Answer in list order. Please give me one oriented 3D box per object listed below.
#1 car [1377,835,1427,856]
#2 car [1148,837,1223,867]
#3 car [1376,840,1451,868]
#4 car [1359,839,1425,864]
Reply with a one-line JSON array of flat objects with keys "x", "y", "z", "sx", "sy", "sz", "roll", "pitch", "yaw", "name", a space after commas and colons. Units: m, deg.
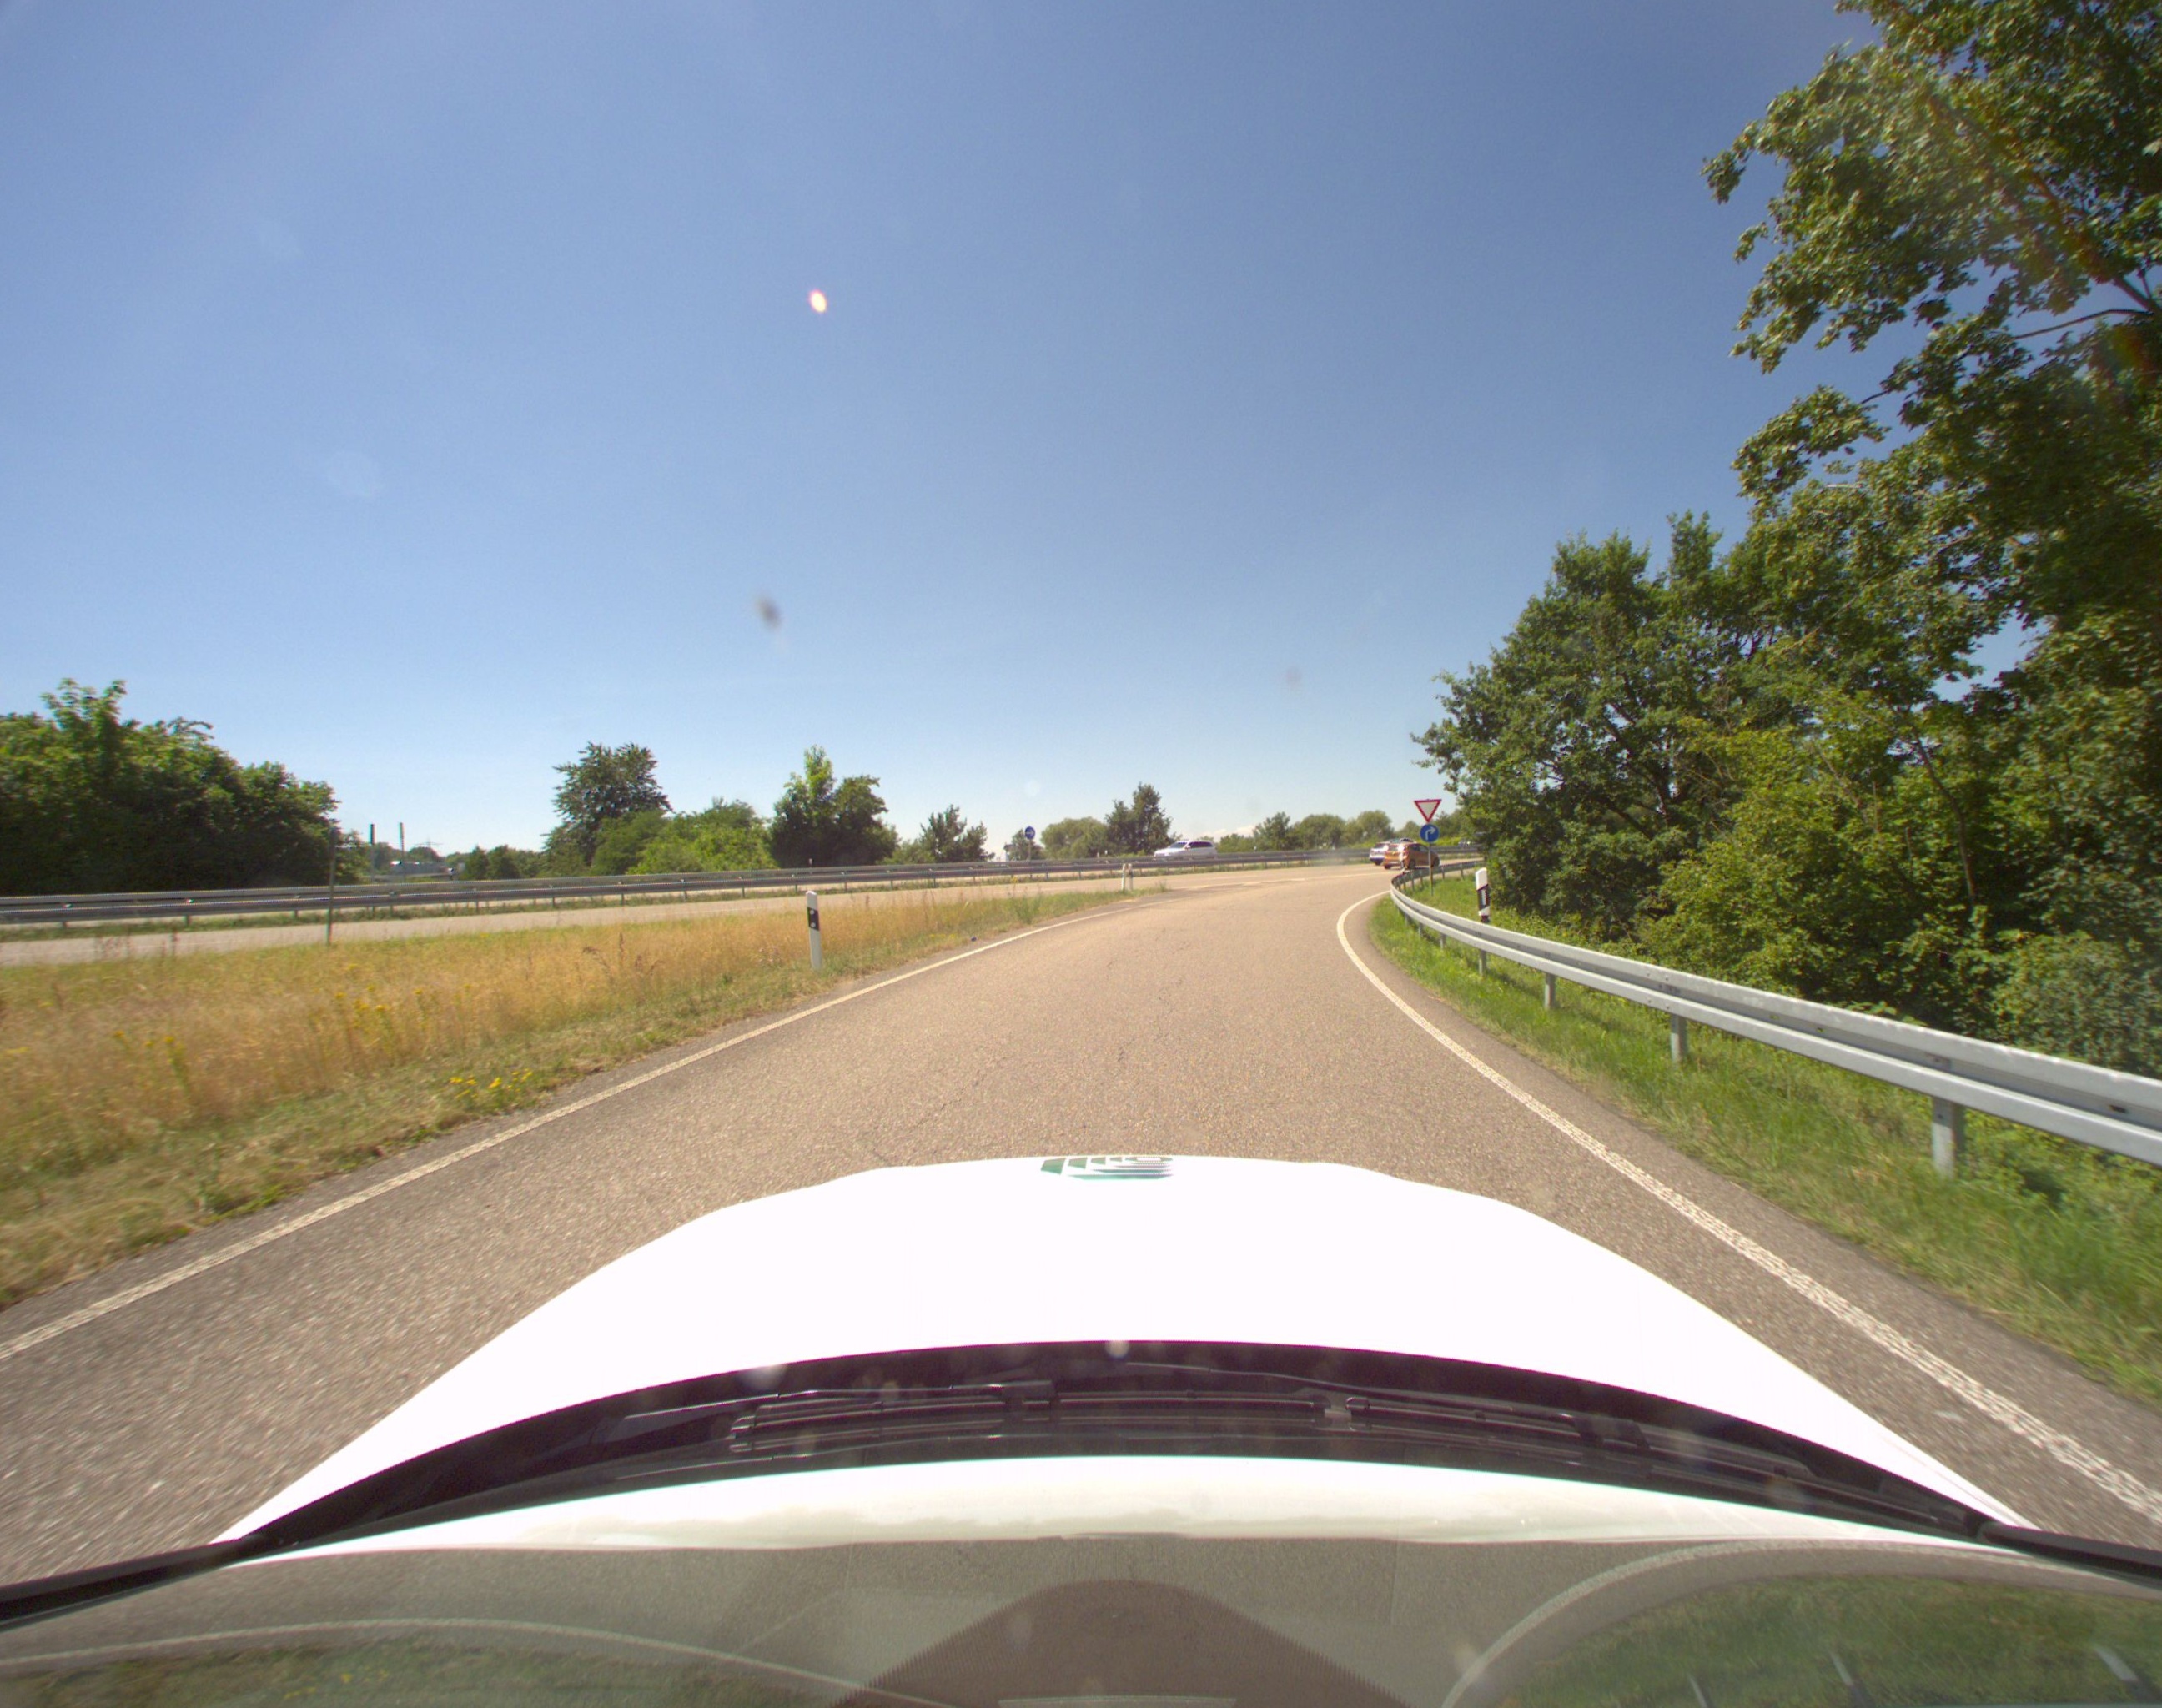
[{"x": 30.277, "y": -0.757, "z": 76.701, "sx": 4.931, "sy": 1.893, "sz": 1.921, "roll": 0, "pitch": -1, "yaw": -34, "name": "car"}, {"x": 7.016, "y": -0.138, "z": 54.353, "sx": 4.933, "sy": 1.893, "sz": 1.978, "roll": 0, "pitch": -1, "yaw": -36, "name": "car"}, {"x": 18.700, "y": -0.033, "z": 45.827, "sx": 4.012, "sy": 1.464, "sz": 1.830, "roll": -2, "pitch": 1, "yaw": -30, "name": "car"}, {"x": 19.775, "y": -0.196, "z": 51.774, "sx": 4.012, "sy": 1.451, "sz": 1.830, "roll": -2, "pitch": 1, "yaw": -30, "name": "car"}]
